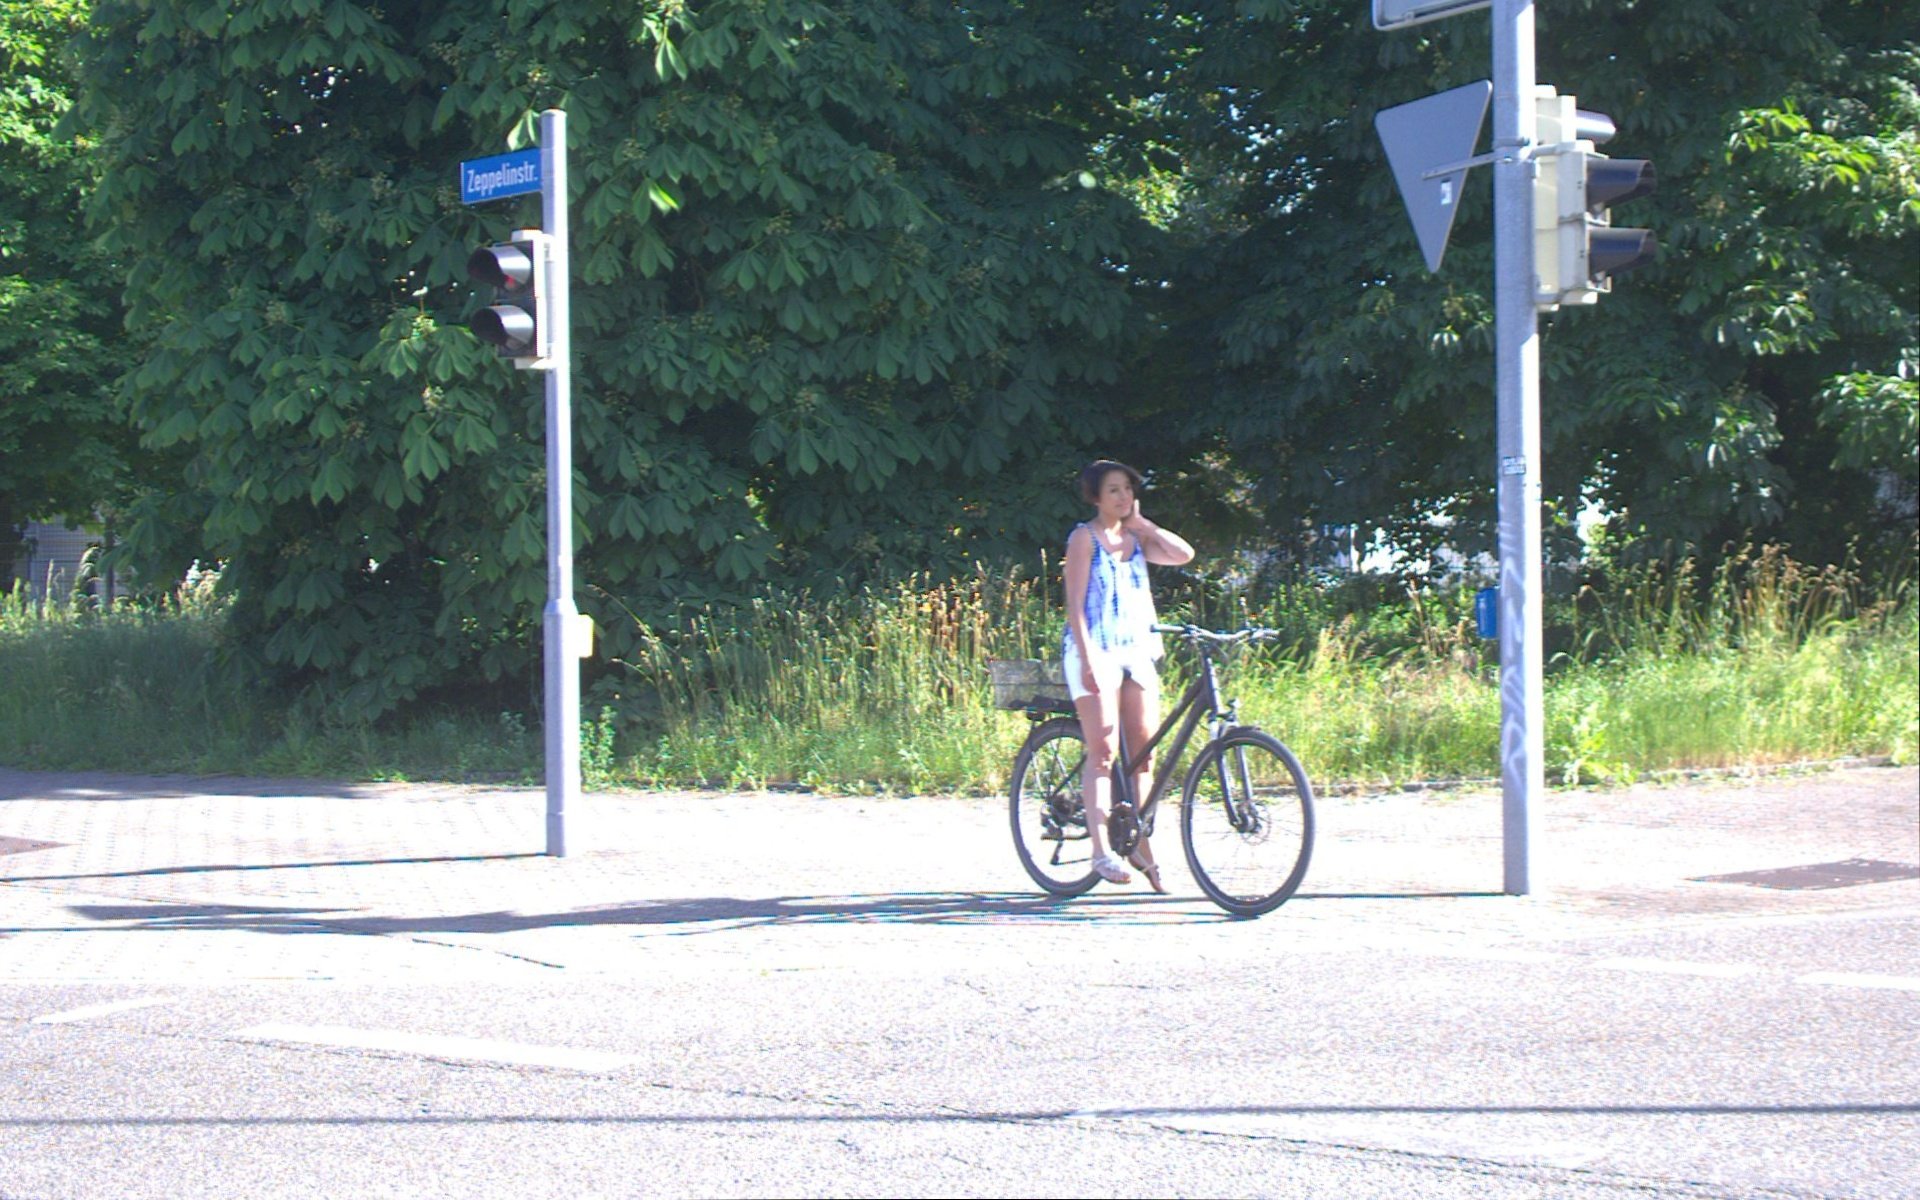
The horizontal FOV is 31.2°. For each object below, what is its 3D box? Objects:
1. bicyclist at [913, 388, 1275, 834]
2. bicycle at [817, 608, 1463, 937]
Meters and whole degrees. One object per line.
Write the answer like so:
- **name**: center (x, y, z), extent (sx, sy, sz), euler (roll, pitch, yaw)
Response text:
- **bicyclist**: center (0.525, 0.035, 13.751), extent (0.889, 1.687, 1.190), euler (0, 0, -36)
- **bicycle**: center (0.624, 0.613, 13.605), extent (0.900, 1.122, 2.953), euler (0, 1, -35)
